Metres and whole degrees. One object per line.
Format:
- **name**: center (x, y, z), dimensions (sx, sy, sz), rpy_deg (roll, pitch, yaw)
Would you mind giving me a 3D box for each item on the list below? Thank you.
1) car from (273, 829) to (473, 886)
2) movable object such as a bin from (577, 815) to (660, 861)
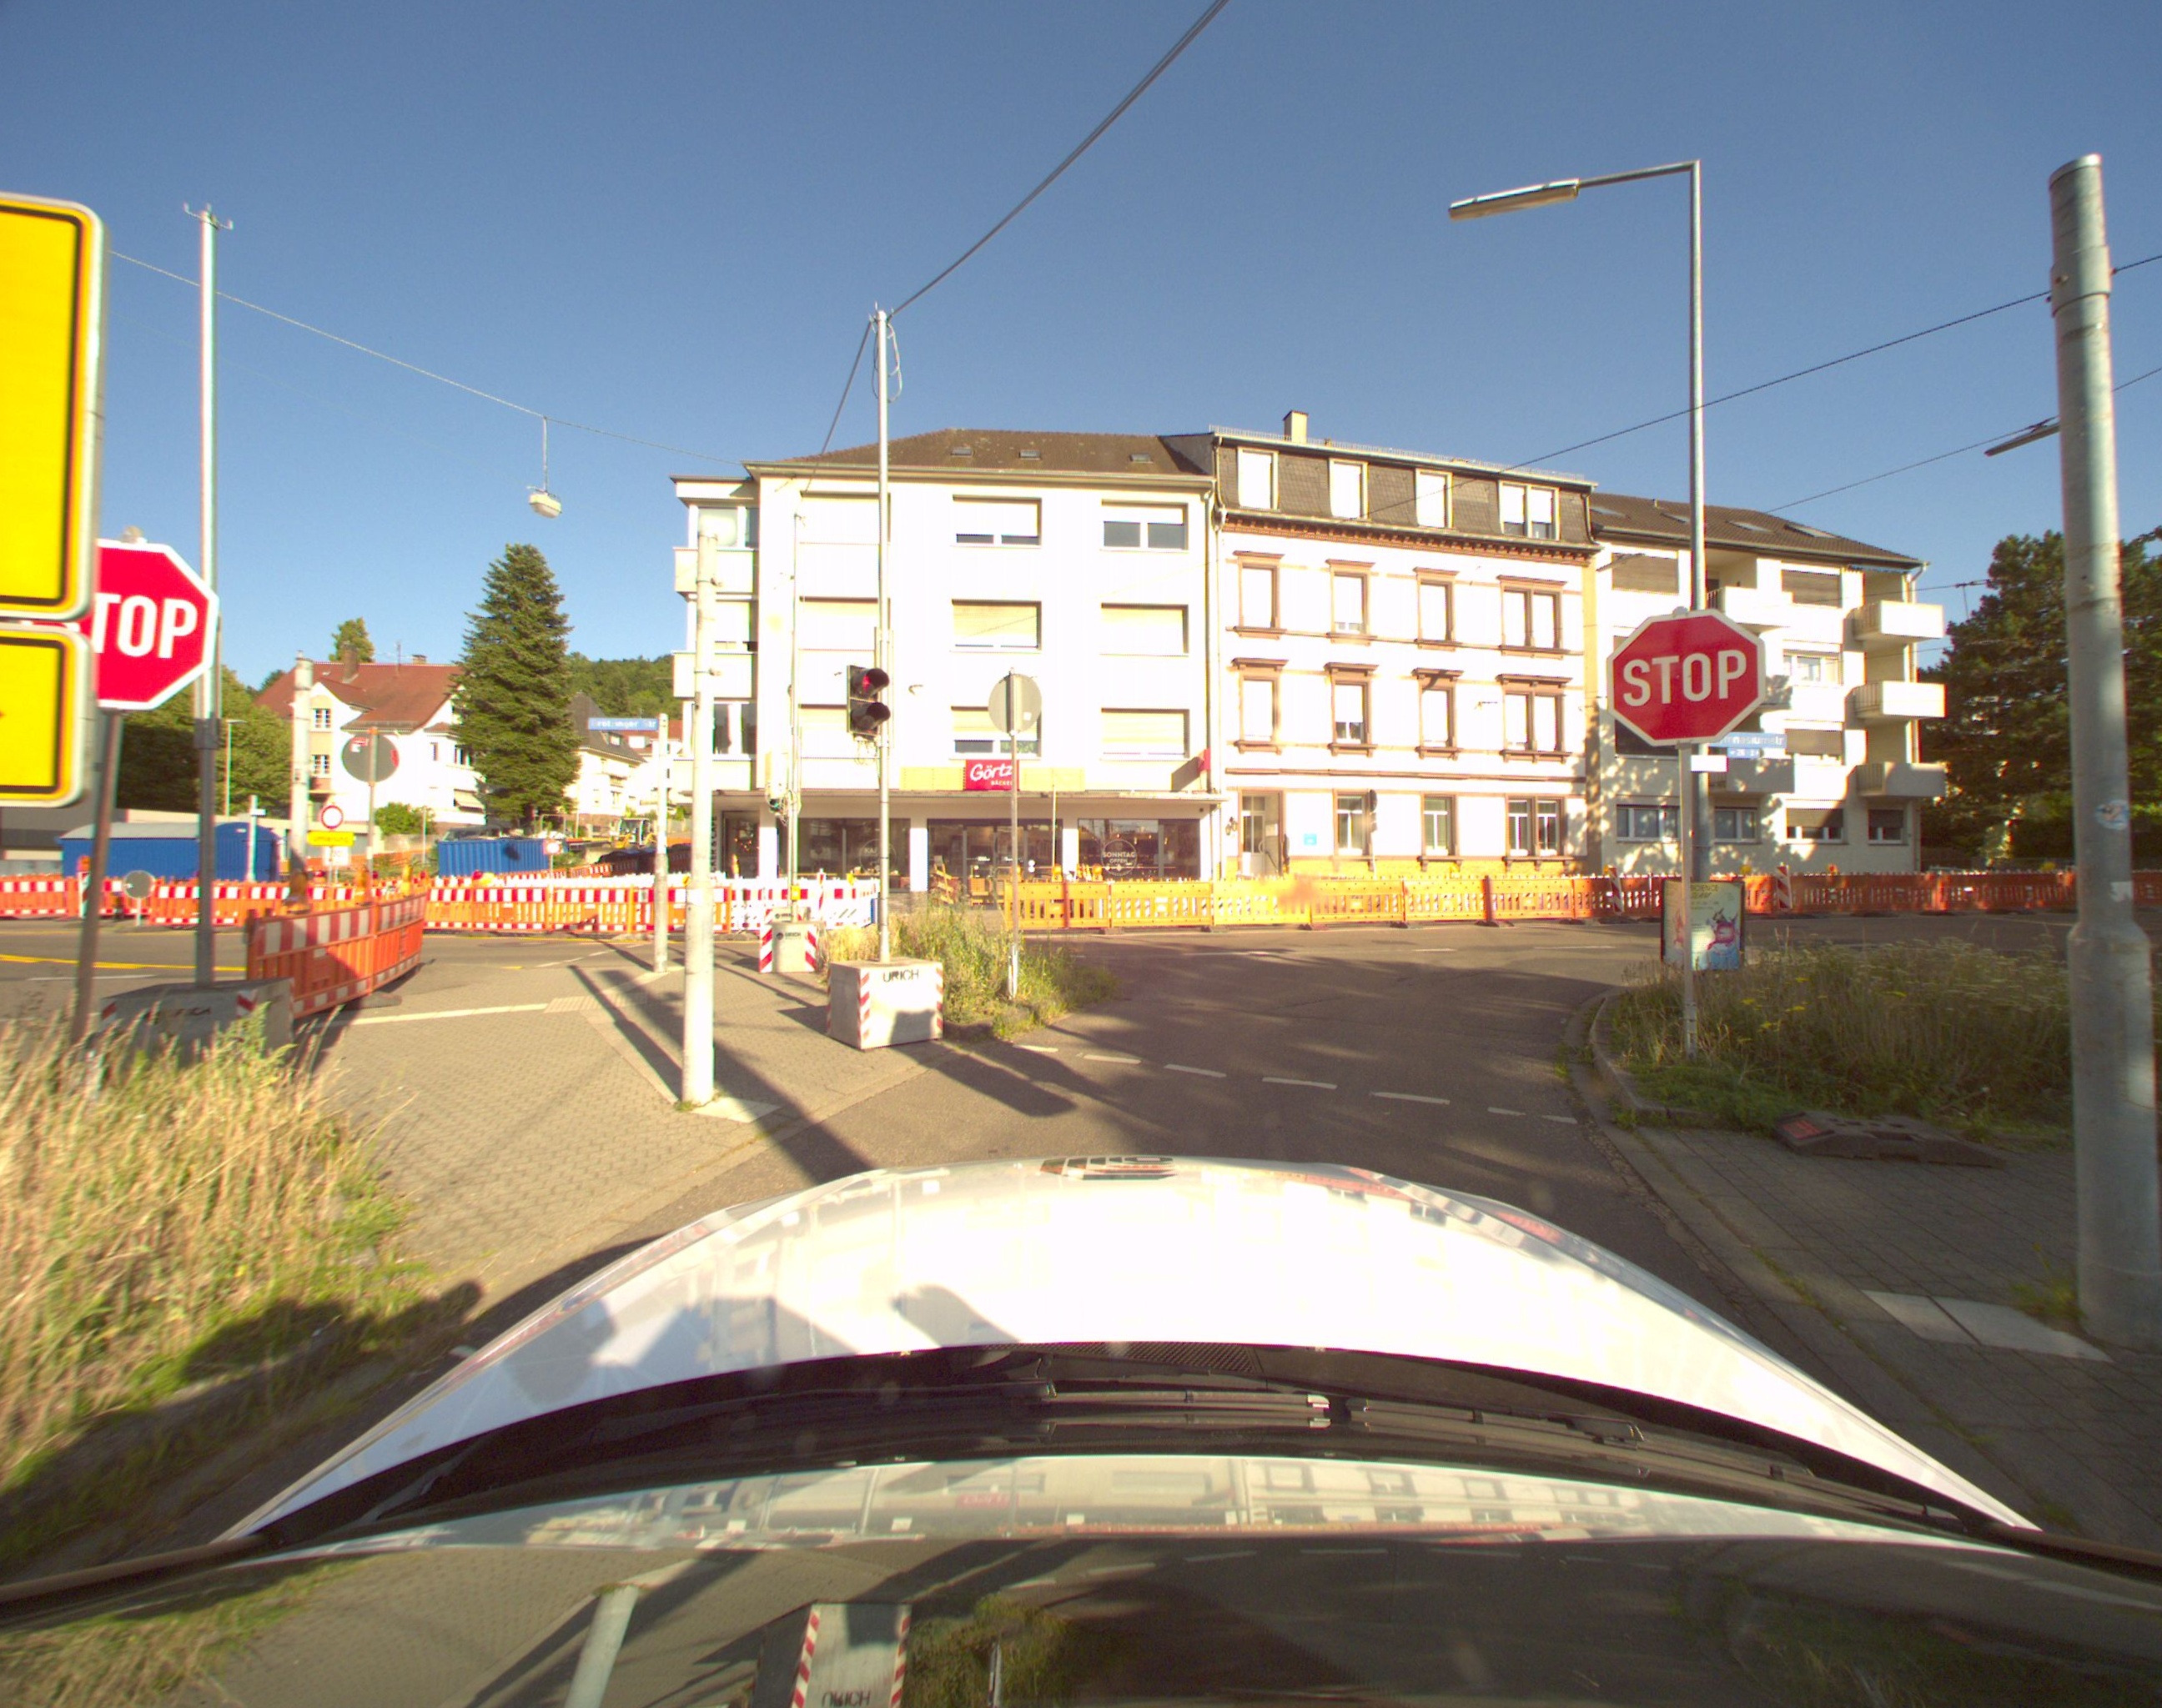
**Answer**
- **car**: center (-28.889, 0.162, 33.652), dimensions (2.572, 2.121, 6.157), rpy_deg (-1, -1, 4)
- **movable object such as a bin**: center (-26.800, -0.888, 47.369), dimensions (1.939, 2.494, 4.556), rpy_deg (-1, -1, 4)
